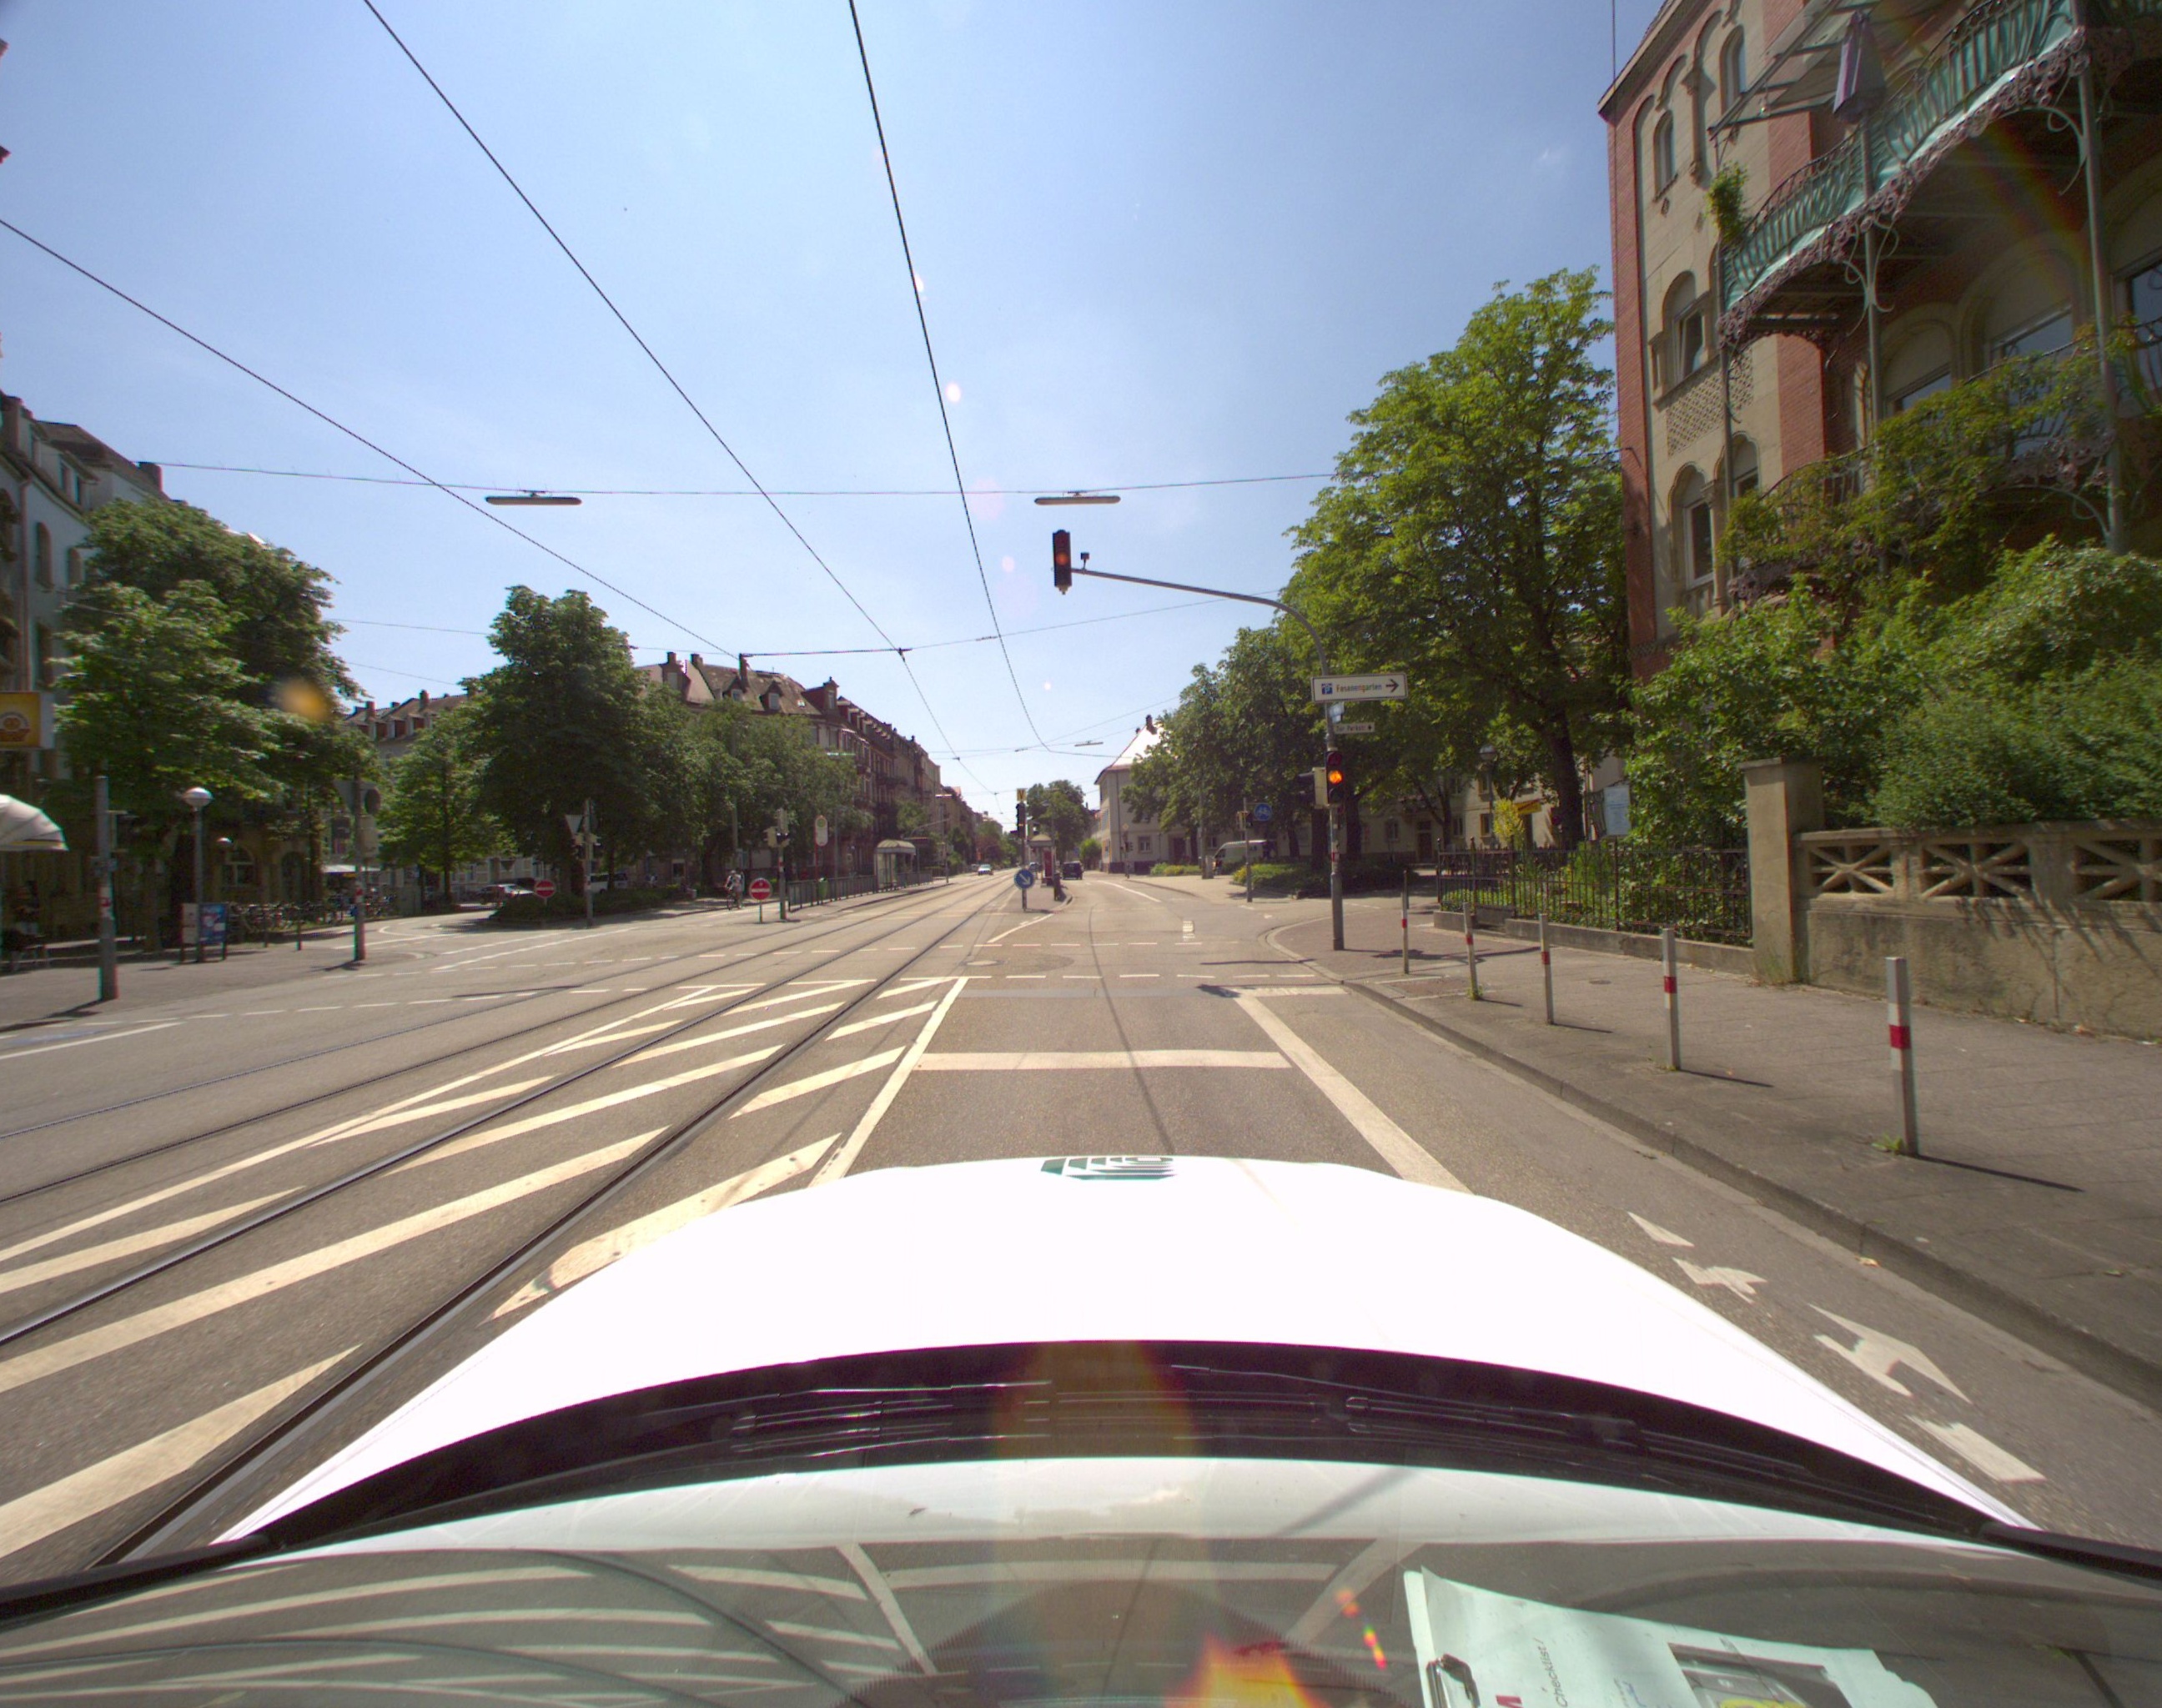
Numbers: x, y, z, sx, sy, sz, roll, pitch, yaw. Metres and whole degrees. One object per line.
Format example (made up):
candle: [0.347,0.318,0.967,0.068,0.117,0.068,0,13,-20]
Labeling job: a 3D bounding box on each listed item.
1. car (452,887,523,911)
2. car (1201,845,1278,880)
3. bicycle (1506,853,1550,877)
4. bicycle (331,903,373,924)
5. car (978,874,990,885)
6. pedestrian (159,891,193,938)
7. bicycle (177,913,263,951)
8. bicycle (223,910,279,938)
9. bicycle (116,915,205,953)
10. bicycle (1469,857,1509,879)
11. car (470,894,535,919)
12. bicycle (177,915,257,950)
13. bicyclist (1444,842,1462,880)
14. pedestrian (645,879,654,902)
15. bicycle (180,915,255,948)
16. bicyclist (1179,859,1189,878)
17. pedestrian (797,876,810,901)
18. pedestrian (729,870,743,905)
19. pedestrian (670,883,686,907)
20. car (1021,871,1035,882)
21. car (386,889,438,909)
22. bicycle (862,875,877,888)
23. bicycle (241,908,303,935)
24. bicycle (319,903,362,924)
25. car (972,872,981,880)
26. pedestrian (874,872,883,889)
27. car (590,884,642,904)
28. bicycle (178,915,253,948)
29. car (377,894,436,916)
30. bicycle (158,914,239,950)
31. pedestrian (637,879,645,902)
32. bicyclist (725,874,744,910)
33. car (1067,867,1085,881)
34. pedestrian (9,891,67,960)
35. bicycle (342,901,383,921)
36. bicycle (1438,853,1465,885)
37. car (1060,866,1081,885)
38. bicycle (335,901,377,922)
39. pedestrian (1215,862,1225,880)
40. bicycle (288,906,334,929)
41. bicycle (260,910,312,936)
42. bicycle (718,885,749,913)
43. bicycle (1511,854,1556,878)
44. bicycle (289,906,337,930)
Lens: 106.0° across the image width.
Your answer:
car: [-39.599,3.006,54.393,3.712,1.442,1.543,-2,-2,4]
car: [12.445,0.681,64.267,2.011,2.590,5.779,-1,-1,-43]
bicycle: [26.065,0.640,47.532,2.139,1.300,0.548,-2,-2,8]
bicycle: [-35.300,2.857,39.436,1.488,0.956,0.407,-1,-2,-15]
car: [-13.174,3.445,110.586,1.538,1.339,3.712,-1,-2,-5]
pedestrian: [-35.034,2.343,31.539,0.607,1.777,0.625,-1,-2,0]
bicycle: [-24.806,2.238,23.493,0.286,0.974,1.683,-3,-2,39]
bicycle: [-31.720,2.672,31.144,1.488,0.956,0.407,-1,-2,-15]
bicycle: [-26.553,2.292,23.517,0.286,0.974,1.683,-3,-2,39]
bicycle: [25.680,0.866,51.228,2.139,1.300,0.548,-2,-2,8]
car: [-40.714,3.688,57.355,3.557,1.575,1.586,-2,-2,6]
bicycle: [-26.613,2.404,25.112,0.286,0.974,1.683,-3,-2,39]
bicyclist: [17.837,0.328,39.029,0.598,1.800,0.536,-2,-2,10]
pedestrian: [-33.962,2.855,64.149,0.565,1.825,0.630,0,-2,-25]
bicycle: [-28.964,2.578,27.340,0.286,0.974,1.683,-3,-2,39]
bicyclist: [8.675,1.224,68.620,0.687,1.646,0.584,-2,-2,30]
pedestrian: [-18.634,2.310,54.702,0.679,1.606,0.771,-1,-2,-7]
pedestrian: [-18.308,1.772,43.187,0.509,1.879,0.494,-1,-2,1]
pedestrian: [-21.200,2.152,42.822,0.553,1.256,0.638,0,-3,-43]
car: [-7.404,3.109,113.668,1.524,1.456,3.354,-3,-2,-8]
car: [-58.285,3.928,70.967,3.953,1.618,1.769,-3,-1,21]
bicycle: [-20.920,2.731,80.697,0.360,1.169,1.529,-1,-1,38]
bicycle: [-31.851,2.652,32.087,0.286,0.974,1.683,-3,-2,39]
bicycle: [-35.305,2.832,38.860,1.488,0.956,0.407,-1,-2,-15]
car: [-21.983,4.634,171.916,1.682,1.473,3.930,-5,-1,-6]
pedestrian: [-19.515,2.537,78.619,0.464,1.615,0.657,1,0,44]
car: [-36.345,3.099,63.681,3.697,1.442,1.549,-2,-2,21]
bicycle: [-28.693,2.554,27.029,0.286,0.974,1.683,-3,-2,39]
car: [-46.779,3.547,56.492,3.697,1.442,1.549,-2,-2,21]
bicycle: [-27.174,2.383,25.106,0.286,0.974,1.683,-3,-2,39]
pedestrian: [-34.850,2.907,64.543,0.509,1.768,0.524,0,-2,-26]
bicyclist: [-15.371,1.685,36.127,0.607,1.574,0.584,-1,-2,-4]
car: [-0.630,2.351,94.794,1.744,1.473,3.932,-5,-1,-4]
pedestrian: [-26.983,1.840,21.079,0.543,1.731,0.726,-1,-2,-6]
bicycle: [-35.718,2.826,40.488,1.488,0.956,0.407,-1,-2,-15]
bicycle: [17.913,0.734,39.402,0.588,1.485,2.173,-2,-2,9]
car: [-0.891,1.802,68.256,1.521,1.444,3.360,-3,-2,-3]
bicycle: [-35.536,2.812,39.934,1.488,0.956,0.407,-1,-2,-15]
pedestrian: [8.696,1.069,51.057,0.507,1.092,0.478,-4,0,2]
bicycle: [-34.204,2.828,36.183,1.488,0.956,0.407,-1,-2,-15]
bicycle: [-32.433,2.812,33.234,1.488,0.956,0.407,-1,-2,-15]
bicycle: [-15.352,1.991,36.048,0.627,1.157,1.975,-1,-1,-3]
bicycle: [25.882,0.675,46.625,2.139,1.300,0.548,-2,-2,8]
bicycle: [-33.058,2.758,35.073,1.488,0.956,0.407,-1,-2,-15]
